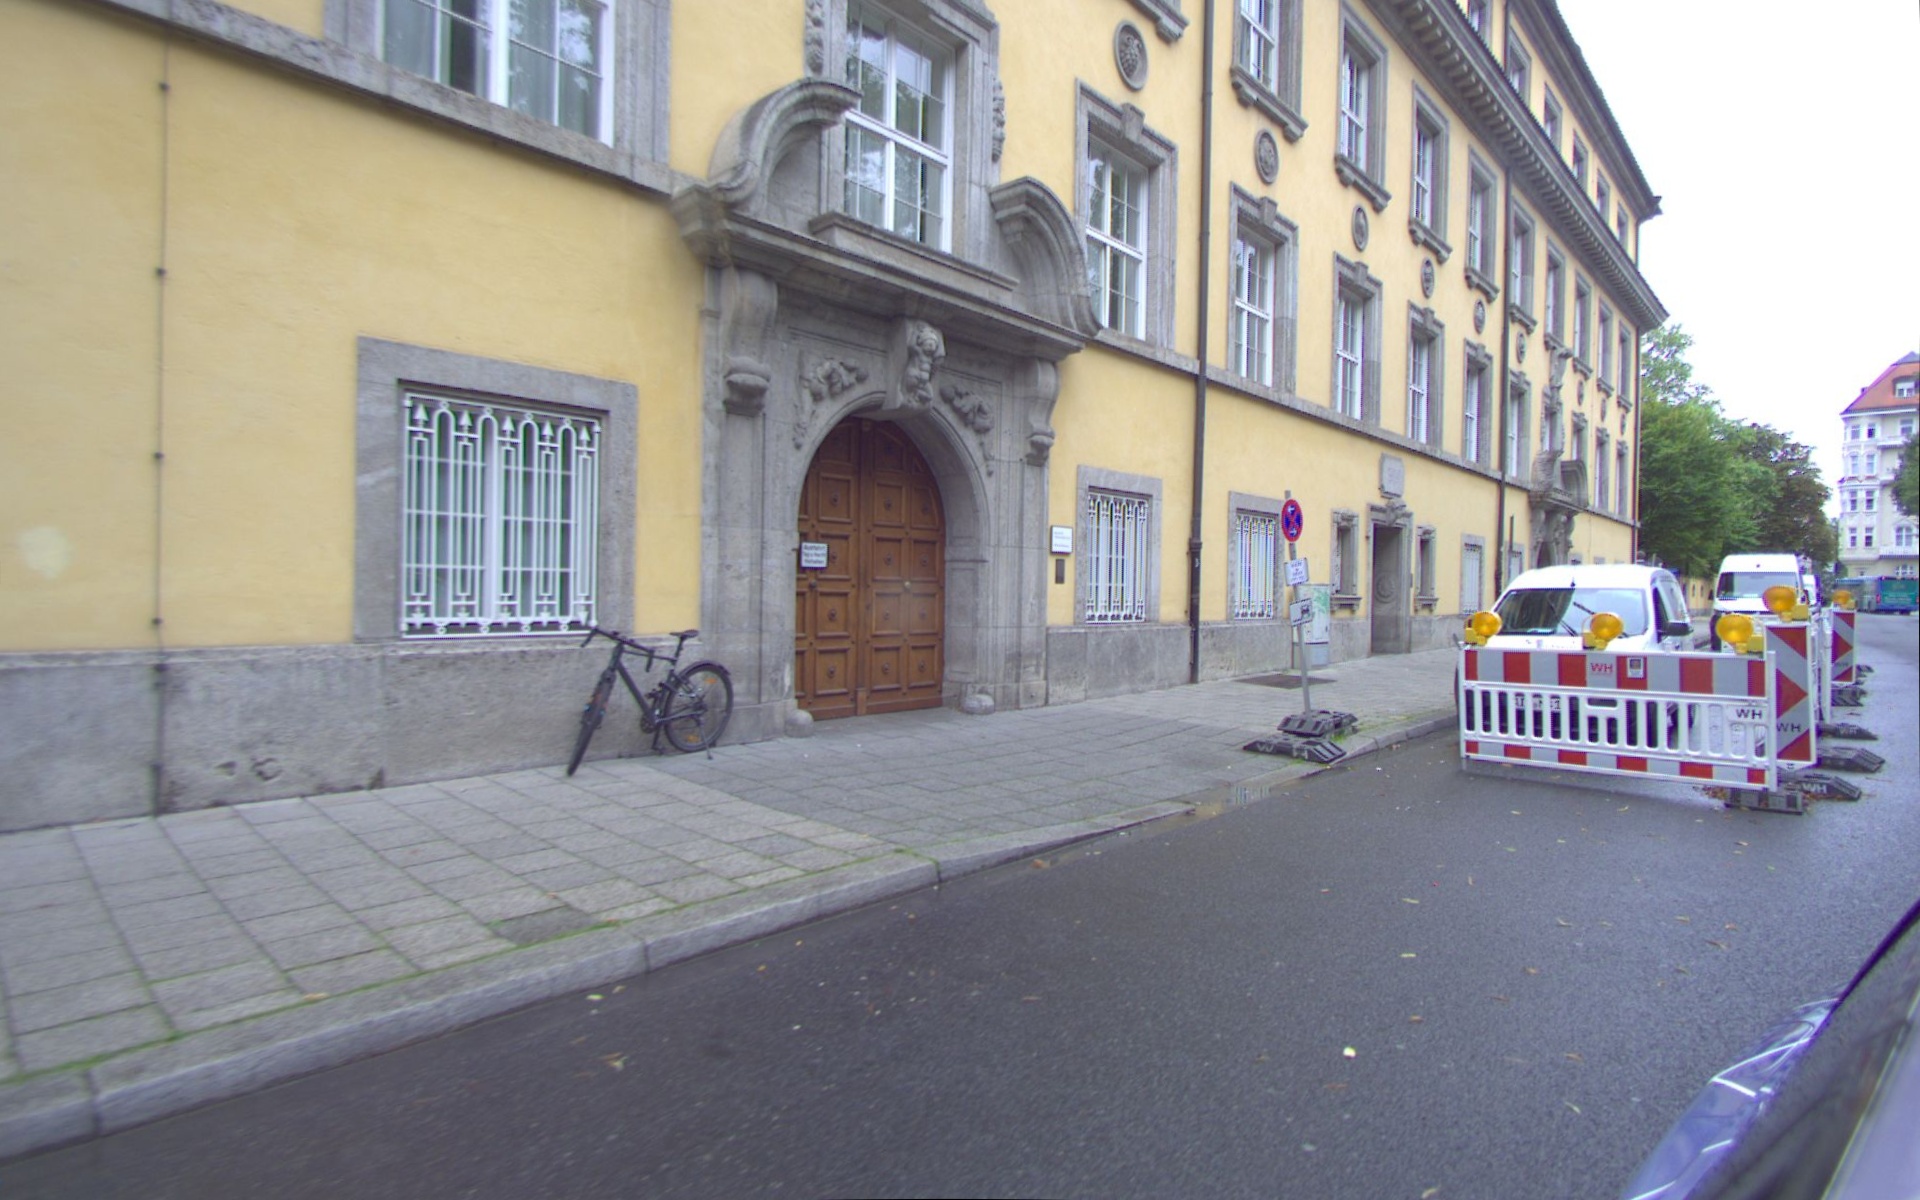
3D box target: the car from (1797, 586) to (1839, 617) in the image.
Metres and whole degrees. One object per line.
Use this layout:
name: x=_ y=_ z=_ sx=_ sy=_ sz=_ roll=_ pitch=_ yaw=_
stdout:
car: x=51.225 y=0.059 z=60.375 sx=1.857 sy=1.763 sz=4.534 roll=0 pitch=1 yaw=41

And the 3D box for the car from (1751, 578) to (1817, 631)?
car: x=32.073 y=0.119 z=39.374 sx=1.869 sy=1.892 sz=4.914 roll=2 pitch=2 yaw=40

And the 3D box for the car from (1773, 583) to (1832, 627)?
car: x=39.686 y=0.194 z=47.768 sx=2.009 sy=1.930 sz=5.092 roll=0 pitch=1 yaw=38

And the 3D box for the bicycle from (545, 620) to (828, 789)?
bicycle: x=-1.990 y=0.710 z=7.628 sx=0.680 sy=1.019 sz=2.026 roll=2 pitch=2 yaw=42

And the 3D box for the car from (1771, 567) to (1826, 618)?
car: x=44.255 y=-0.476 z=53.359 sx=2.093 sy=2.518 sz=5.657 roll=2 pitch=2 yaw=40

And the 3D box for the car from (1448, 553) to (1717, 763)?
car: x=6.737 y=0.410 z=10.732 sx=1.738 sy=1.771 sz=4.292 roll=2 pitch=2 yaw=41

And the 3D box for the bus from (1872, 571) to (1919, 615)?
bus: x=78.886 y=-0.747 z=85.070 sx=2.857 sy=3.279 sz=18.156 roll=2 pitch=3 yaw=41

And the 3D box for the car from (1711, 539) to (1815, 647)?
car: x=23.111 y=-0.265 z=28.996 sx=2.052 sy=2.706 sz=7.504 roll=2 pitch=2 yaw=40
